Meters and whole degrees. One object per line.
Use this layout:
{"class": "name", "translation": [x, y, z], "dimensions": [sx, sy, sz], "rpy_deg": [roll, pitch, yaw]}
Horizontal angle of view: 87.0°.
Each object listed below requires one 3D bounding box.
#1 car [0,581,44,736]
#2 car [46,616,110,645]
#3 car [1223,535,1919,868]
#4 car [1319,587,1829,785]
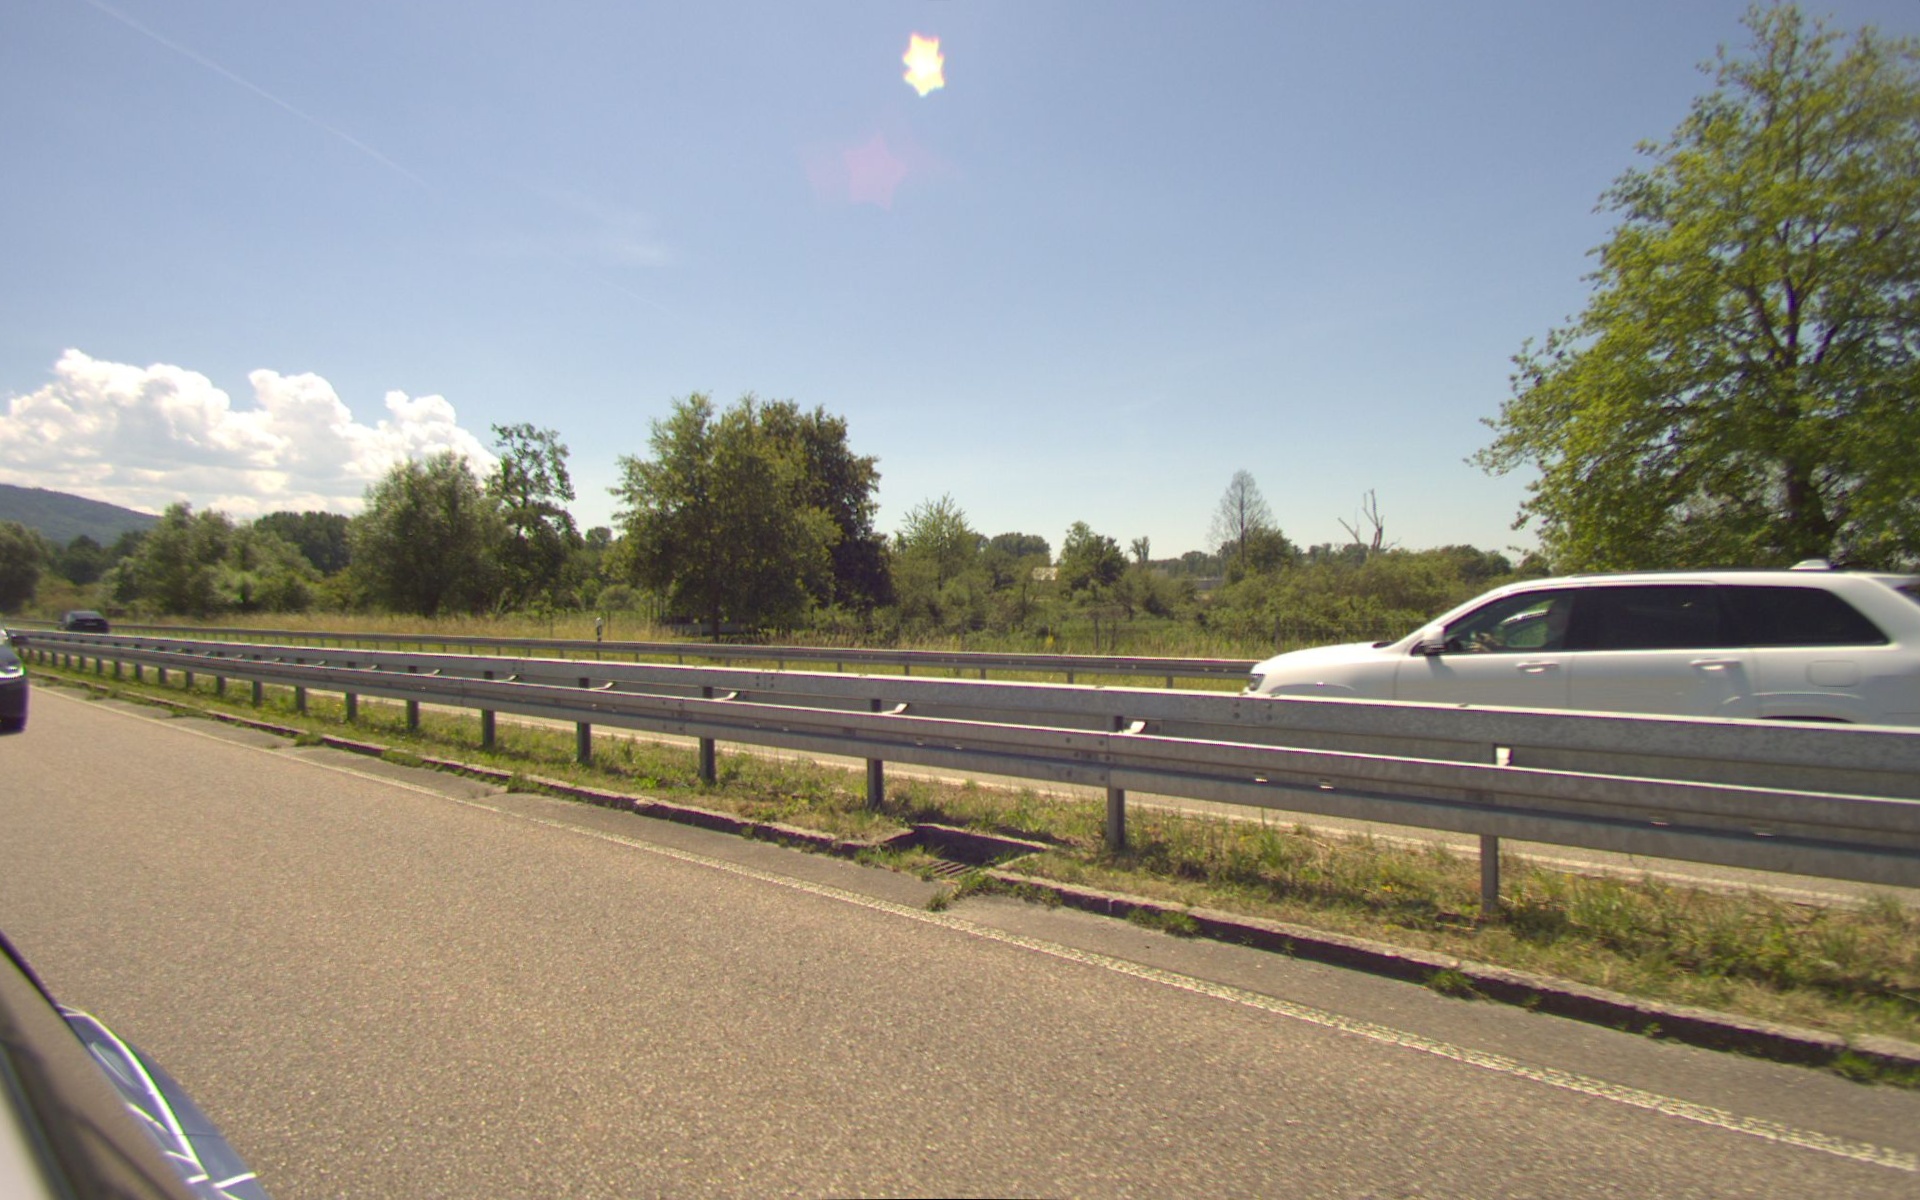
{"class": "car", "translation": [-14.279, 0.759, 13.738], "dimensions": [5.566, 1.901, 1.836], "rpy_deg": [-1, -1, 38]}
{"class": "car", "translation": [-51.346, 1.738, 58.903], "dimensions": [4.957, 1.620, 1.974], "rpy_deg": [-1, -1, 39]}
{"class": "car", "translation": [4.648, 0.590, 7.313], "dimensions": [4.963, 1.821, 1.960], "rpy_deg": [-1, -1, 39]}
{"class": "car", "translation": [6.074, 0.747, 10.345], "dimensions": [4.166, 1.630, 1.824], "rpy_deg": [-1, -1, 39]}
